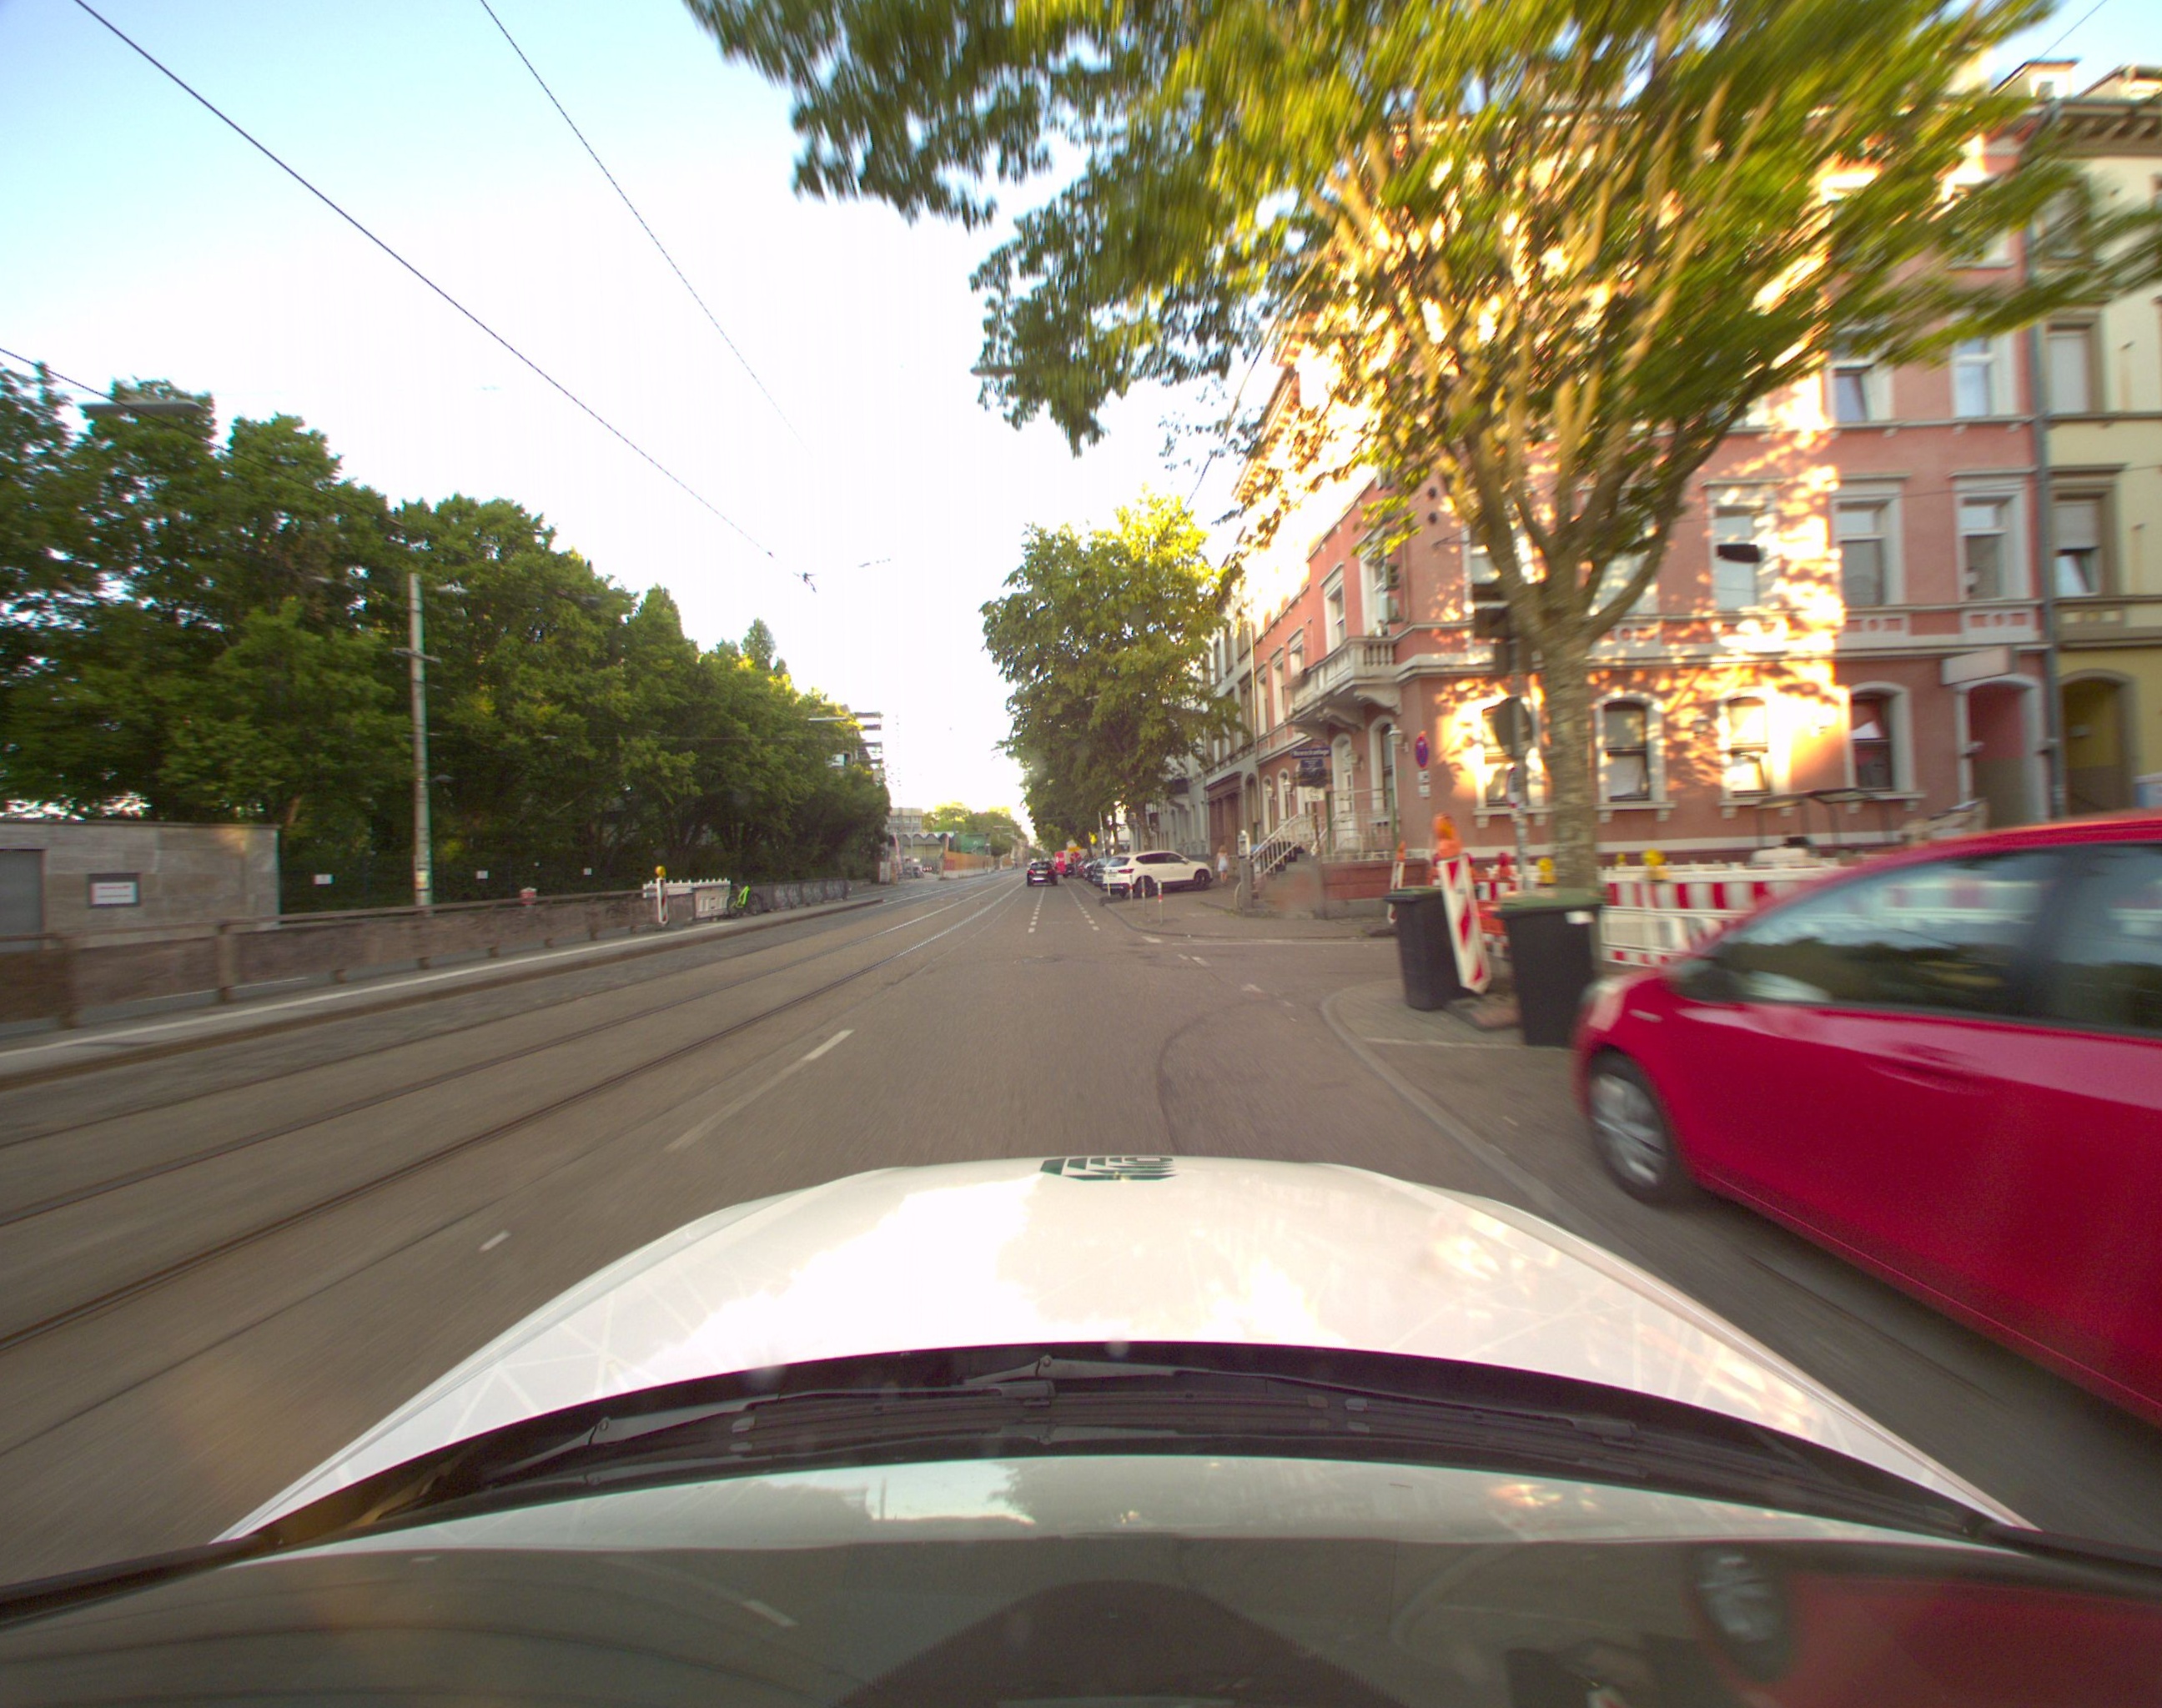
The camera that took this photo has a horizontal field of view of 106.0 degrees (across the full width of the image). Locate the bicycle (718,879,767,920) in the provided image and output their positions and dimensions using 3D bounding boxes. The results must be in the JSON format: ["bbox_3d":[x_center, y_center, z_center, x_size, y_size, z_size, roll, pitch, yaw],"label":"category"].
[{"bbox_3d":[-9.875,1.294,23.832,0.460,1.075,2.022,-3,0,2],"label":"bicycle"}]

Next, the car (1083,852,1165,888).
[{"bbox_3d":[2.320,0.839,43.619,3.971,1.603,1.820,-4,-1,-35],"label":"car"}]

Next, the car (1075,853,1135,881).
[{"bbox_3d":[1.758,0.957,59.539,3.972,1.603,1.820,-6,-1,-35],"label":"car"}]

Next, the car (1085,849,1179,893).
[{"bbox_3d":[2.384,0.777,37.569,3.976,1.668,1.879,-5,-1,-39],"label":"car"}]

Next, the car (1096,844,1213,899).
[{"bbox_3d":[2.700,0.614,29.646,3.970,1.626,1.656,-5,1,-33],"label":"car"}]

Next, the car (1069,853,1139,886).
[{"bbox_3d":[1.479,1.007,51.810,3.972,1.603,1.820,-7,1,-35],"label":"car"}]

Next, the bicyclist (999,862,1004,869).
[{"bbox_3d":[-17.456,2.560,178.578,0.943,1.346,1.109,-3,-1,-5],"label":"bicyclist"}]

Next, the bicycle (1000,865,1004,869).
[{"bbox_3d":[-17.391,2.847,179.370,0.946,0.849,2.692,-2,0,-5],"label":"bicycle"}]

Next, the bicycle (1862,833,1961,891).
[{"bbox_3d":[16.478,0.156,16.199,0.461,1.075,1.396,-4,0,-2],"label":"bicycle"}]

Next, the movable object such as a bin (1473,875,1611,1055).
[{"bbox_3d":[3.284,0.743,5.796,0.707,1.153,0.627,-3,-1,40],"label":"movable object such as a bin"}]

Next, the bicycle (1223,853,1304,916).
[{"bbox_3d":[4.076,0.649,18.113,1.927,1.266,0.595,-2,-1,-37],"label":"bicycle"}]

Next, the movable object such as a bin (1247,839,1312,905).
[{"bbox_3d":[4.753,0.417,19.647,1.138,1.502,1.397,-2,0,-3],"label":"movable object such as a bin"}]

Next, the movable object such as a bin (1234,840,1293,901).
[{"bbox_3d":[4.698,0.411,21.090,1.138,1.502,1.397,-2,0,-3],"label":"movable object such as a bin"}]

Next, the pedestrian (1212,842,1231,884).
[{"bbox_3d":[5.535,0.341,32.083,0.585,1.609,0.624,-2,-1,-2],"label":"pedestrian"}]

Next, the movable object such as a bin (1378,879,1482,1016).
[{"bbox_3d":[3.107,0.815,7.295,0.708,1.153,0.590,-2,0,10],"label":"movable object such as a bin"}]

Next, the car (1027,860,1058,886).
[{"bbox_3d":[-2.438,1.170,51.318,1.877,1.620,3.996,0,-1,-3],"label":"car"}]

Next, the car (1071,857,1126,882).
[{"bbox_3d":[1.457,1.268,66.221,3.967,1.603,1.823,-6,0,-29],"label":"car"}]

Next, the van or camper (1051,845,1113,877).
[{"bbox_3d":[0.134,0.691,78.132,5.577,2.530,2.063,-5,0,-37],"label":"van or camper"}]

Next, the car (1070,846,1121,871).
[{"bbox_3d":[1.318,0.399,72.765,3.967,1.765,1.823,-7,0,-29],"label":"car"}]

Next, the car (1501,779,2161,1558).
[{"bbox_3d":[2.892,0.570,2.287,1.558,1.536,3.695,-4,0,3],"label":"car"}]
